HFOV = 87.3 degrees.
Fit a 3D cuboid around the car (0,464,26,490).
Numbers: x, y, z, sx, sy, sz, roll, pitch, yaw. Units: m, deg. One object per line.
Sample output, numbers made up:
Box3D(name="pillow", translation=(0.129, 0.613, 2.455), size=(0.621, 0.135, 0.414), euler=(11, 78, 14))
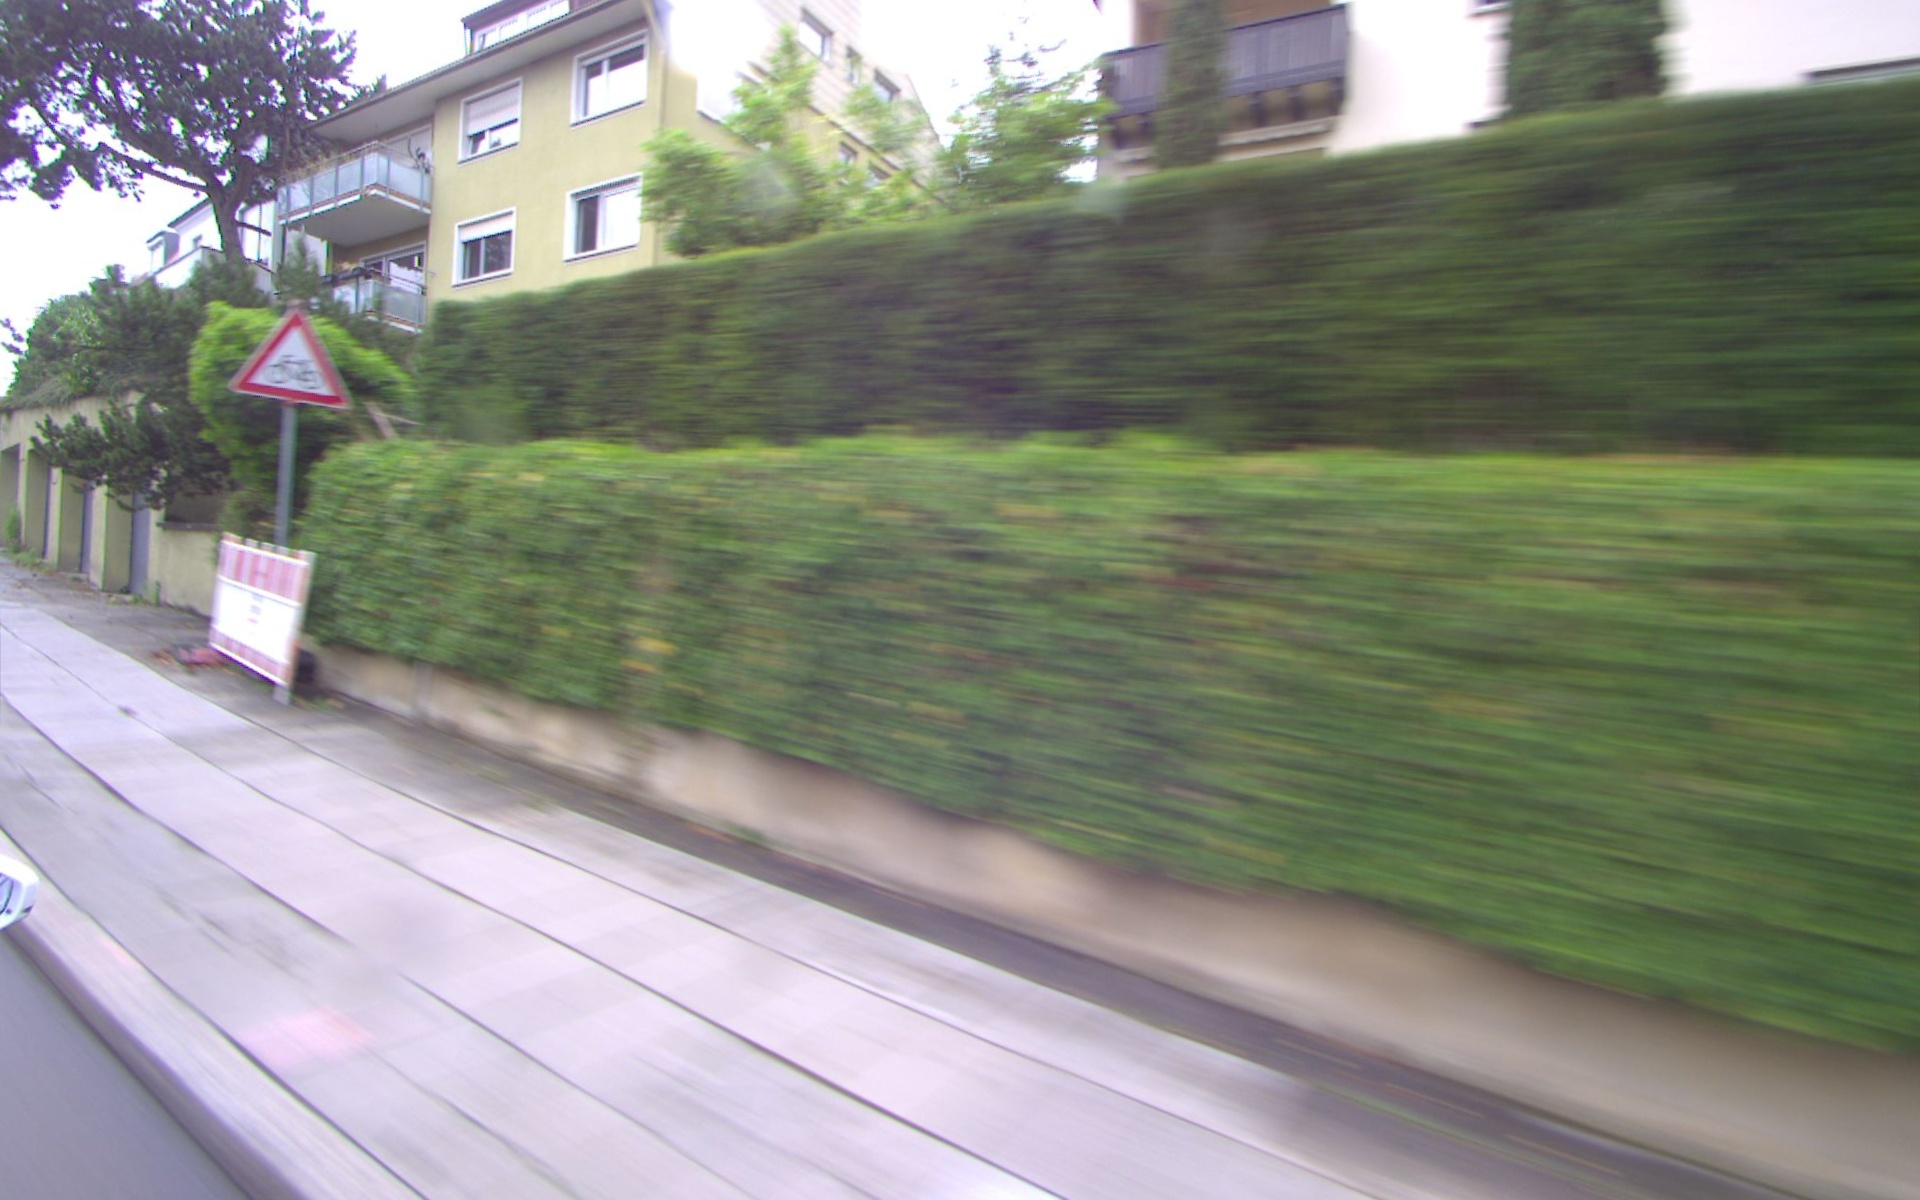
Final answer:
Box3D(name="car", translation=(-62.430, -8.033, 64.218), size=(3.964, 1.487, 1.719), euler=(3, 4, -39))
